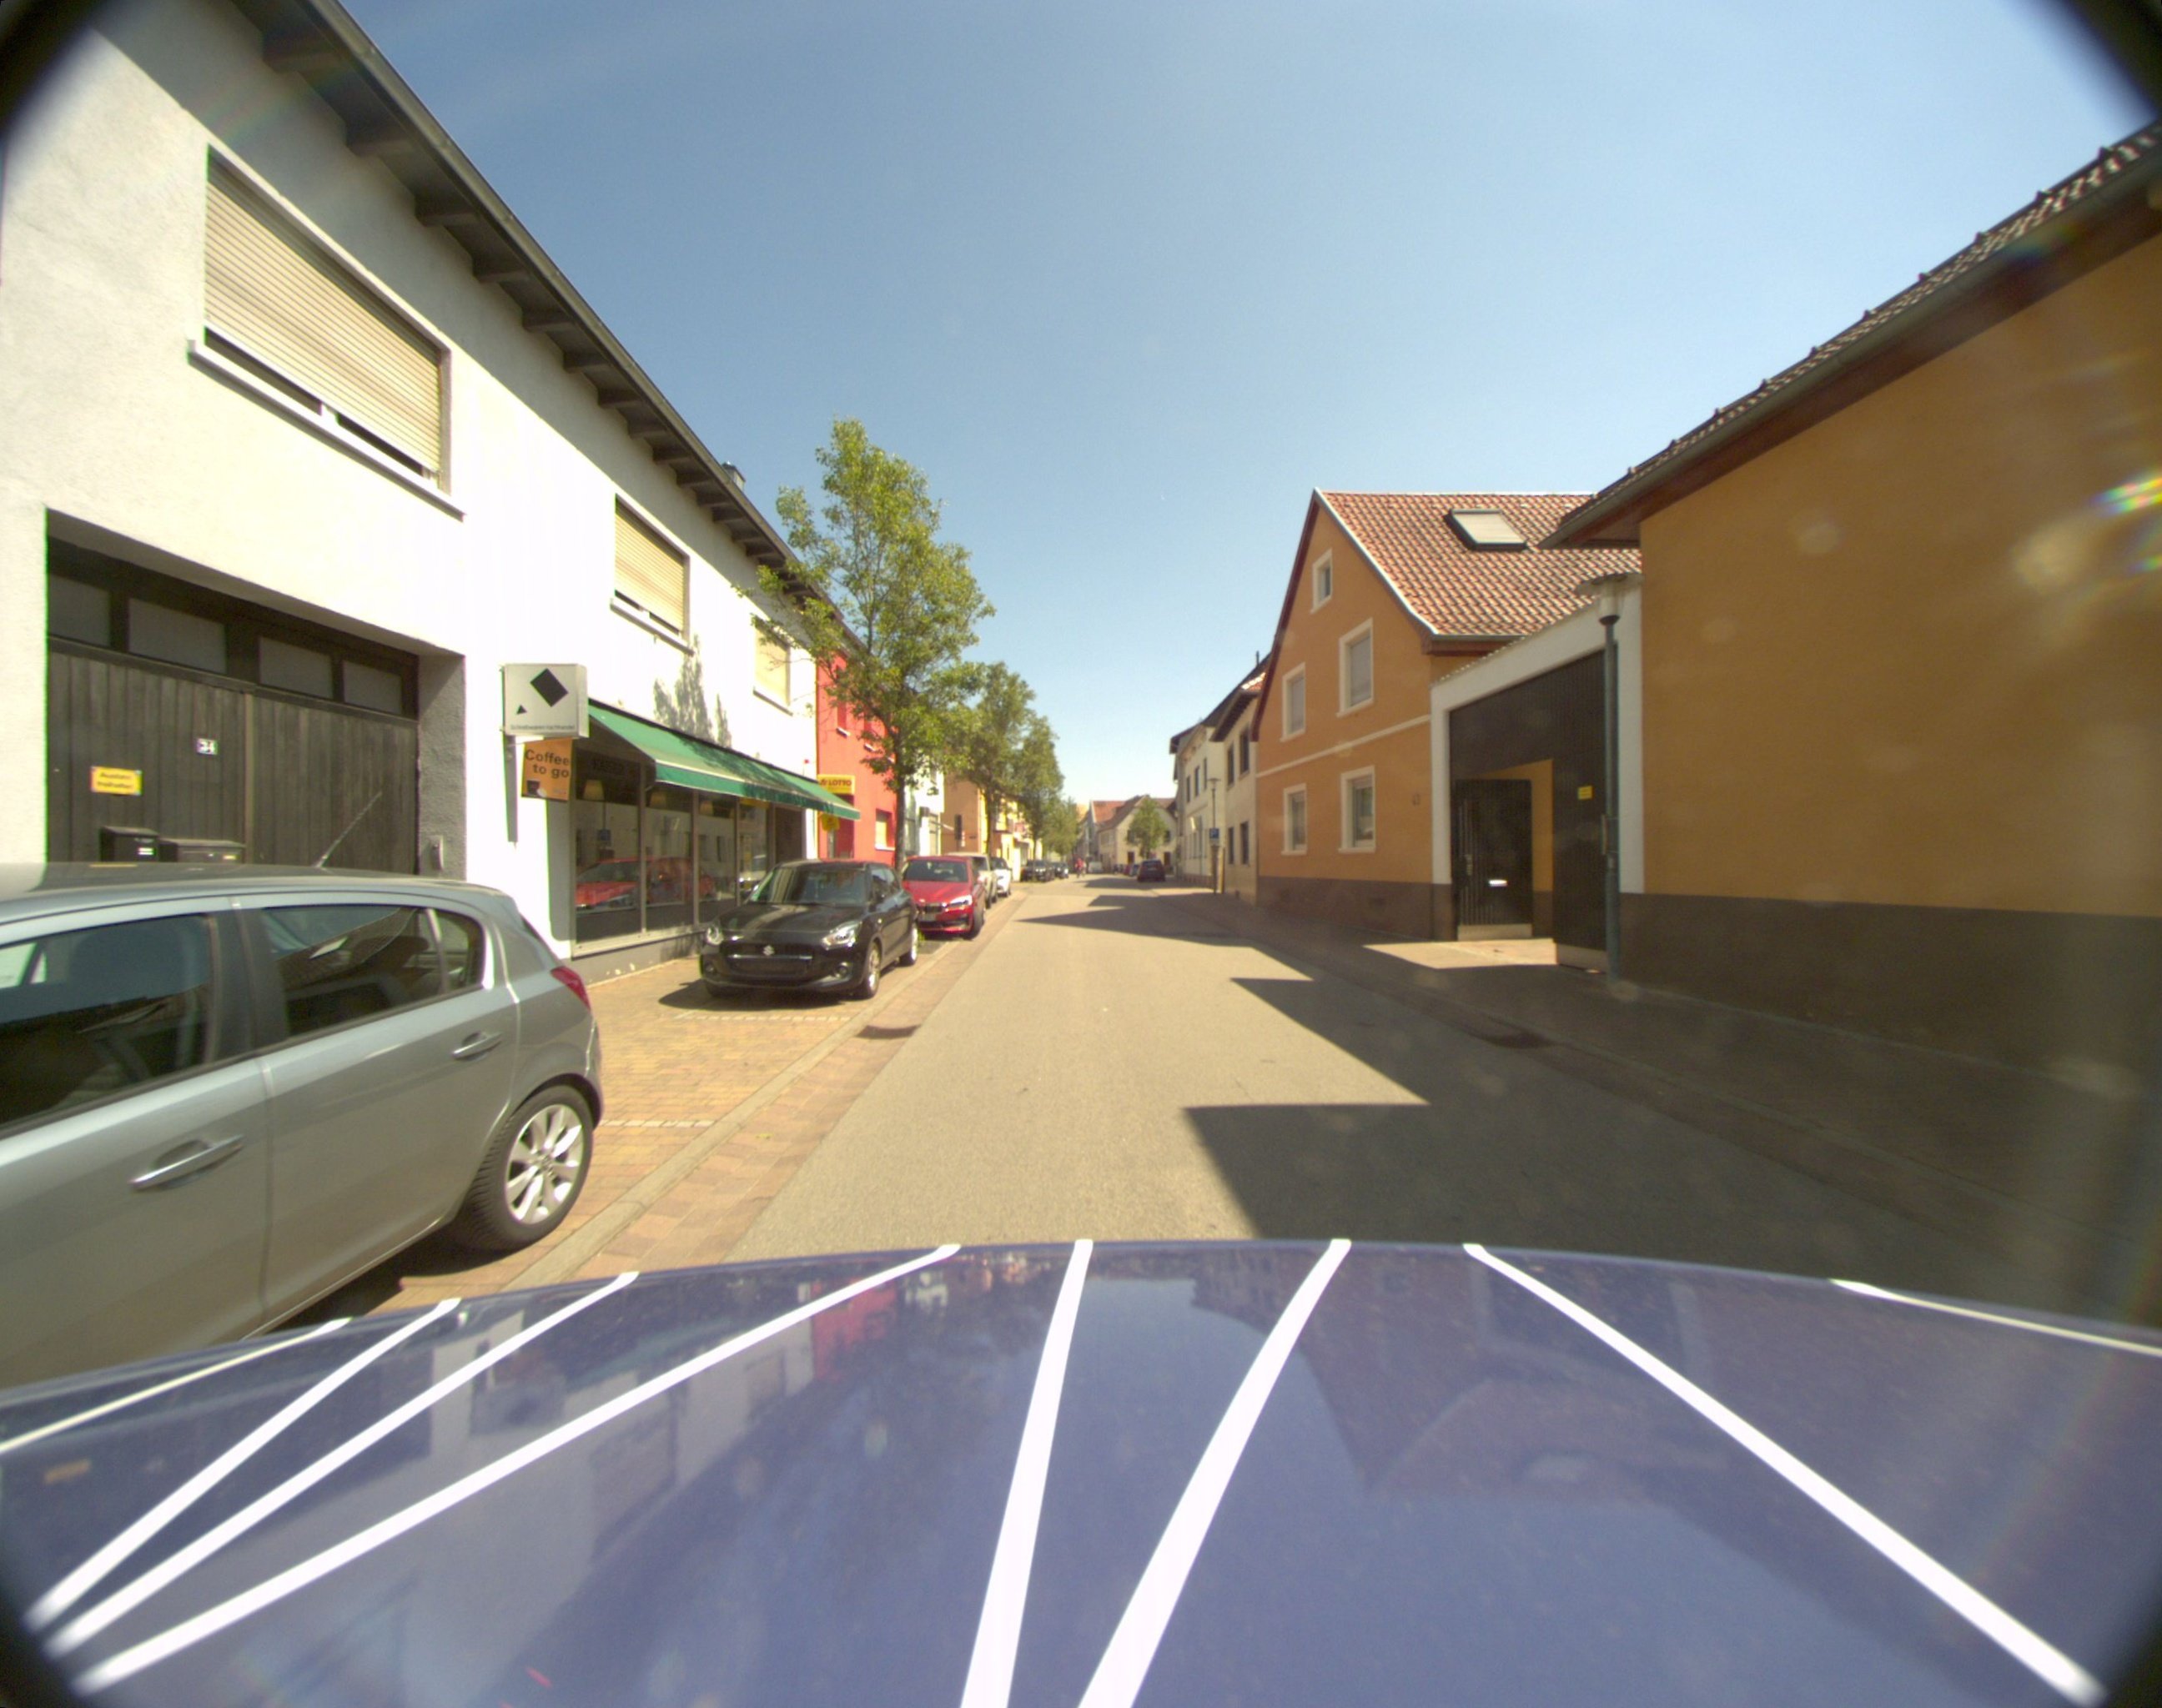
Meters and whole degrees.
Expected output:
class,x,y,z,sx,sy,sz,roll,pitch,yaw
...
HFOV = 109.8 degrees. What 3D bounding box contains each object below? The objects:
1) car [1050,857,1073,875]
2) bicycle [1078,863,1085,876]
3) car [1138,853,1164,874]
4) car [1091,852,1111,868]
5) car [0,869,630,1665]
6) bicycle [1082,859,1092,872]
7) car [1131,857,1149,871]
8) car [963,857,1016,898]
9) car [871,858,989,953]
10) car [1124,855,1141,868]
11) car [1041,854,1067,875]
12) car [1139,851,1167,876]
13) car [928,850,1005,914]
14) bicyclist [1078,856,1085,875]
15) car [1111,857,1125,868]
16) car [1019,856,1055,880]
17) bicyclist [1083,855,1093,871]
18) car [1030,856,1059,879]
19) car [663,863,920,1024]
class,x,y,z,sx,sy,sz,roll,pitch,yaw
car,-1.901,1.149,75.337,1.998,1.759,4.109,0,0,2
bicycle,0.063,1.485,72.442,0.635,1.227,1.894,2,-1,1
car,5.372,0.716,58.619,1.916,1.605,3.987,0,0,4
car,2.987,0.908,116.504,2.443,2.223,4.959,-3,0,-4
car,-2.947,0.825,1.472,1.722,1.472,4.095,1,0,0
bicycle,0.685,1.170,80.947,0.960,1.363,2.406,0,0,2
car,6.532,1.098,84.388,1.571,1.452,3.801,0,0,-2
car,-3.544,0.880,30.122,1.715,1.534,3.997,0,0,-2
car,-2.905,0.917,15.441,1.834,1.579,4.086,-1,1,-4
car,6.070,0.885,90.496,1.572,1.452,3.800,0,0,-3
car,-2.345,0.928,66.537,1.998,1.759,4.109,0,0,2
car,5.034,0.712,53.410,1.863,1.620,4.050,-1,-2,5
car,-3.487,0.782,23.932,1.872,1.675,4.659,-2,1,-3
bicyclist,0.061,1.078,72.426,0.645,1.766,0.722,2,-1,1
car,5.168,1.144,105.837,1.572,1.452,3.800,0,0,-3
car,-3.053,0.983,53.589,1.928,1.594,4.110,0,0,6
bicyclist,0.718,0.956,81.284,1.028,1.635,1.025,0,0,2
car,-2.831,1.071,59.876,1.998,1.759,4.109,0,0,2
car,-3.136,0.877,9.080,1.741,1.504,3.735,0,0,-2
